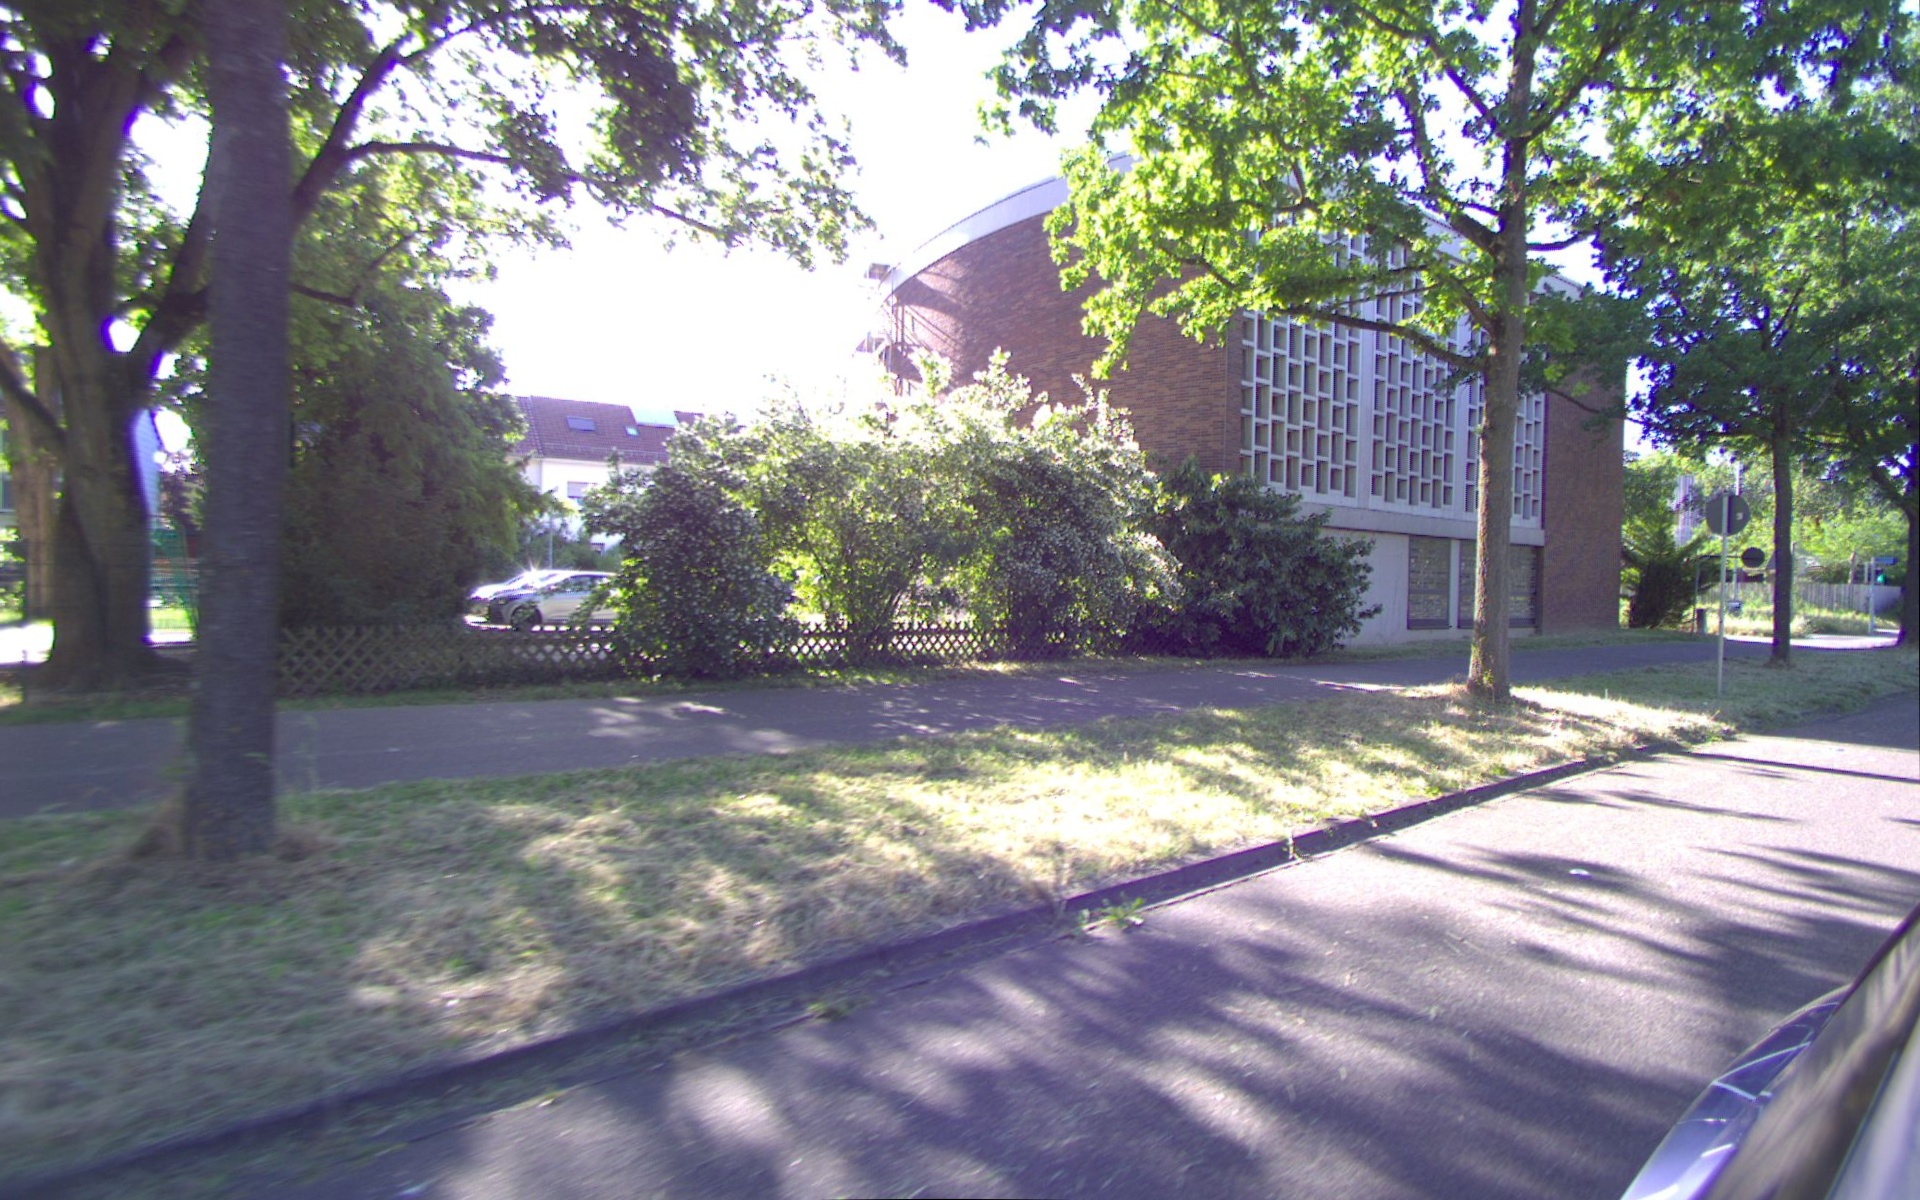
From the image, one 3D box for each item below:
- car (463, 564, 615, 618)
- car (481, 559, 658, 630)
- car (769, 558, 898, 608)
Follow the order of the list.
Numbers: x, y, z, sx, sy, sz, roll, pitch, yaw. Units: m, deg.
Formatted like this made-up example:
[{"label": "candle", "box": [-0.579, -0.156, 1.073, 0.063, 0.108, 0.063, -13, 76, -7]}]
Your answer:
[{"label": "car", "box": [-12.367, -0.308, 29.782, 3.920, 1.482, 2.003, -1, 3, -30]}, {"label": "car", "box": [-9.799, -0.186, 25.415, 3.920, 1.637, 1.883, -1, 3, -30]}, {"label": "car", "box": [-5.512, -0.793, 44.291, 5.163, 2.038, 2.304, -1, 3, -34]}]
